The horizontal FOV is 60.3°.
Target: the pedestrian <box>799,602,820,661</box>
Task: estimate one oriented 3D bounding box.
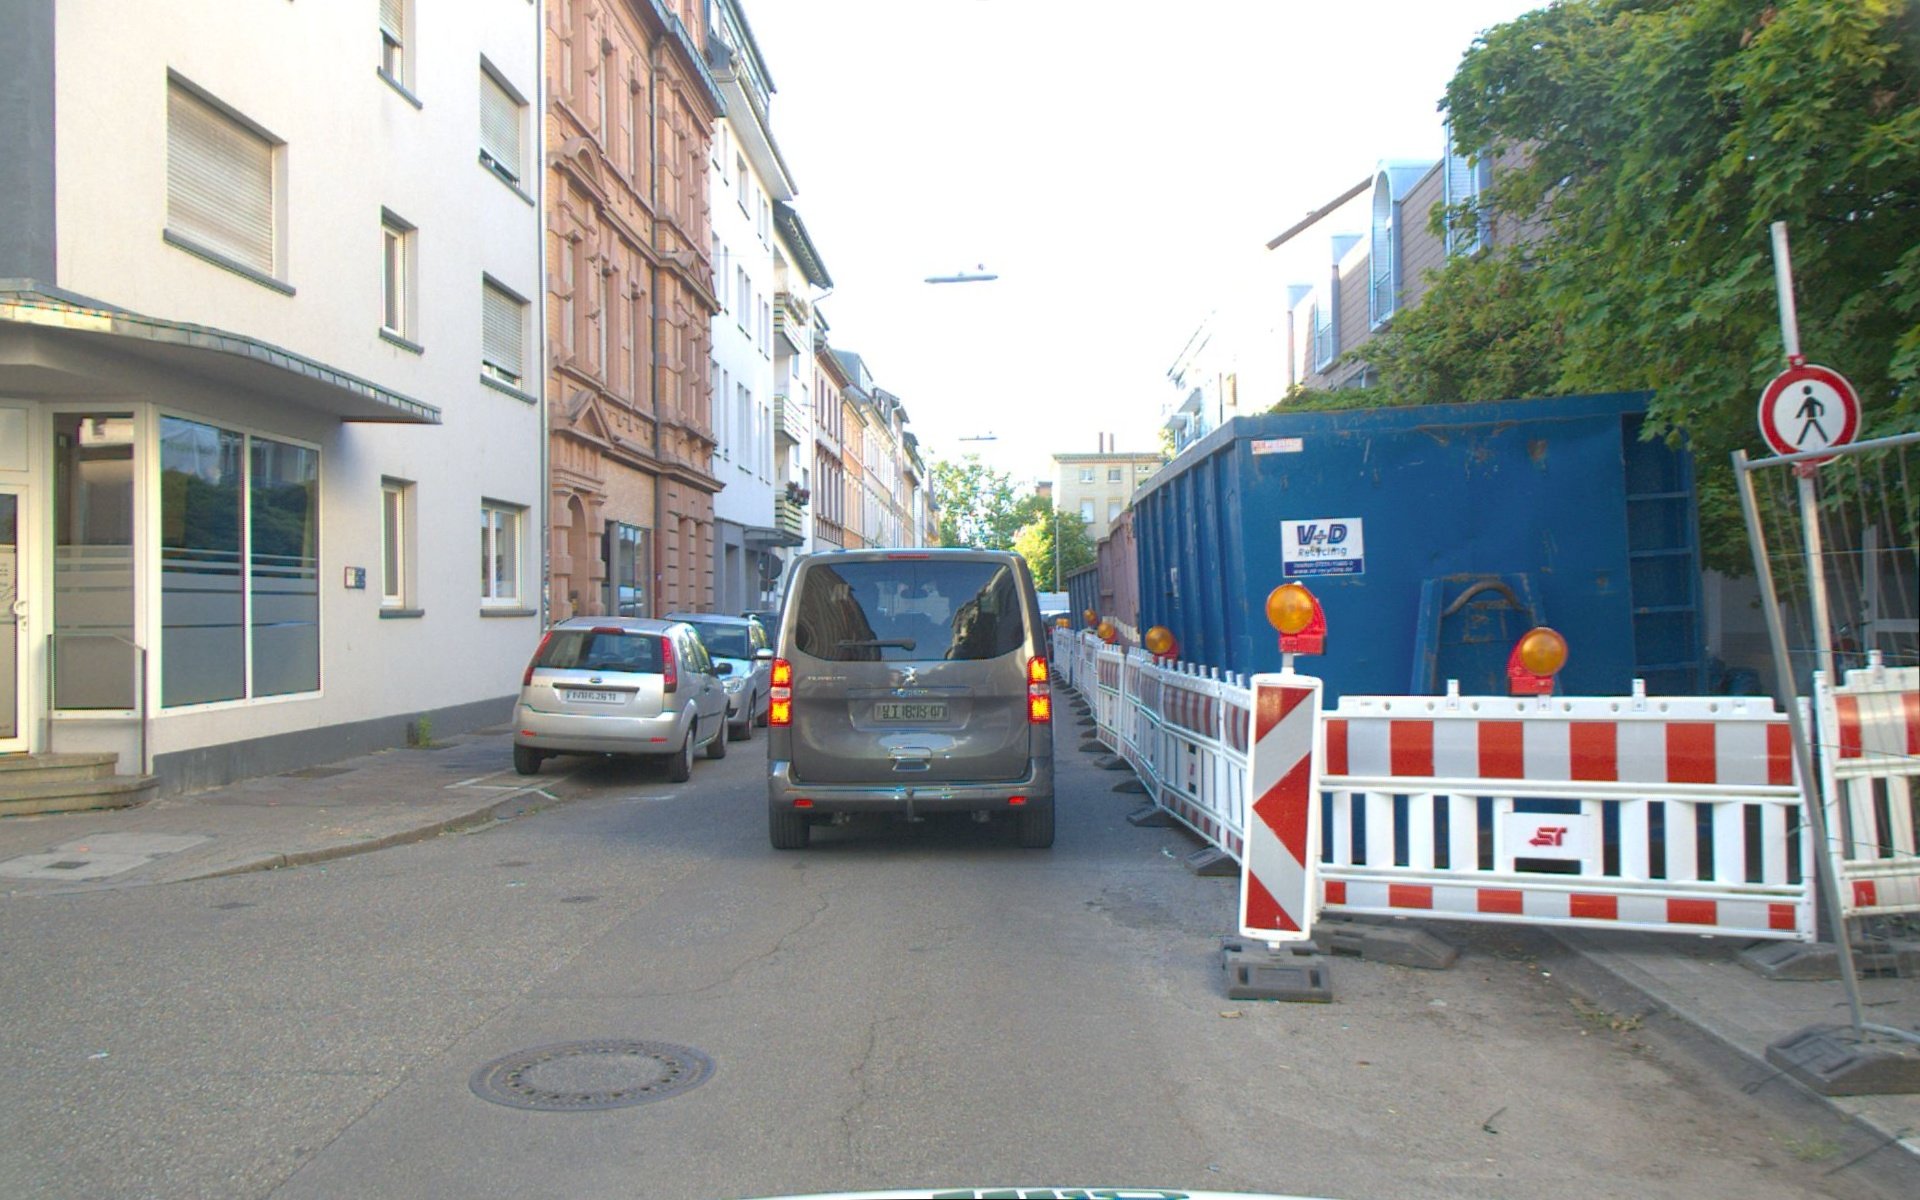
[{"bbox_3d":[-4.280,0.896,47.061,0.485,1.667,0.666,1,-1,1],"label":"pedestrian"}]

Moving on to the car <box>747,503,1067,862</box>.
[{"bbox_3d":[-0.289,0.495,11.765,1.819,2.049,4.000,-2,0,1],"label":"car"}]

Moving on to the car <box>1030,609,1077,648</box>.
[{"bbox_3d":[4.037,1.211,72.207,1.687,1.640,4.587,0,-1,-1],"label":"car"}]

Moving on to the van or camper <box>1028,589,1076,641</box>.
[{"bbox_3d":[4.854,0.795,88.280,2.056,2.648,7.511,-1,0,0],"label":"van or camper"}]

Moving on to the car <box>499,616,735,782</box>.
[{"bbox_3d":[-3.278,0.893,16.424,1.599,1.455,3.555,0,0,0],"label":"car"}]

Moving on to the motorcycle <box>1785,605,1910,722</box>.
[{"bbox_3d":[10.061,0.703,18.842,0.851,1.244,2.457,-1,-1,19],"label":"motorcycle"}]

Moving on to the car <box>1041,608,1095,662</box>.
[{"bbox_3d":[3.580,1.125,54.967,1.712,1.713,4.527,0,0,3],"label":"car"}]

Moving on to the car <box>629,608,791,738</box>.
[{"bbox_3d":[-3.242,0.898,22.015,1.523,1.535,3.597,2,0,1],"label":"car"}]

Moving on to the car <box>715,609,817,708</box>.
[{"bbox_3d":[-3.289,0.969,28.389,1.367,1.616,2.794,0,0,1],"label":"car"}]

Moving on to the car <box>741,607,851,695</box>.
[{"bbox_3d":[-3.161,0.957,32.539,1.704,1.627,4.014,0,0,1],"label":"car"}]
